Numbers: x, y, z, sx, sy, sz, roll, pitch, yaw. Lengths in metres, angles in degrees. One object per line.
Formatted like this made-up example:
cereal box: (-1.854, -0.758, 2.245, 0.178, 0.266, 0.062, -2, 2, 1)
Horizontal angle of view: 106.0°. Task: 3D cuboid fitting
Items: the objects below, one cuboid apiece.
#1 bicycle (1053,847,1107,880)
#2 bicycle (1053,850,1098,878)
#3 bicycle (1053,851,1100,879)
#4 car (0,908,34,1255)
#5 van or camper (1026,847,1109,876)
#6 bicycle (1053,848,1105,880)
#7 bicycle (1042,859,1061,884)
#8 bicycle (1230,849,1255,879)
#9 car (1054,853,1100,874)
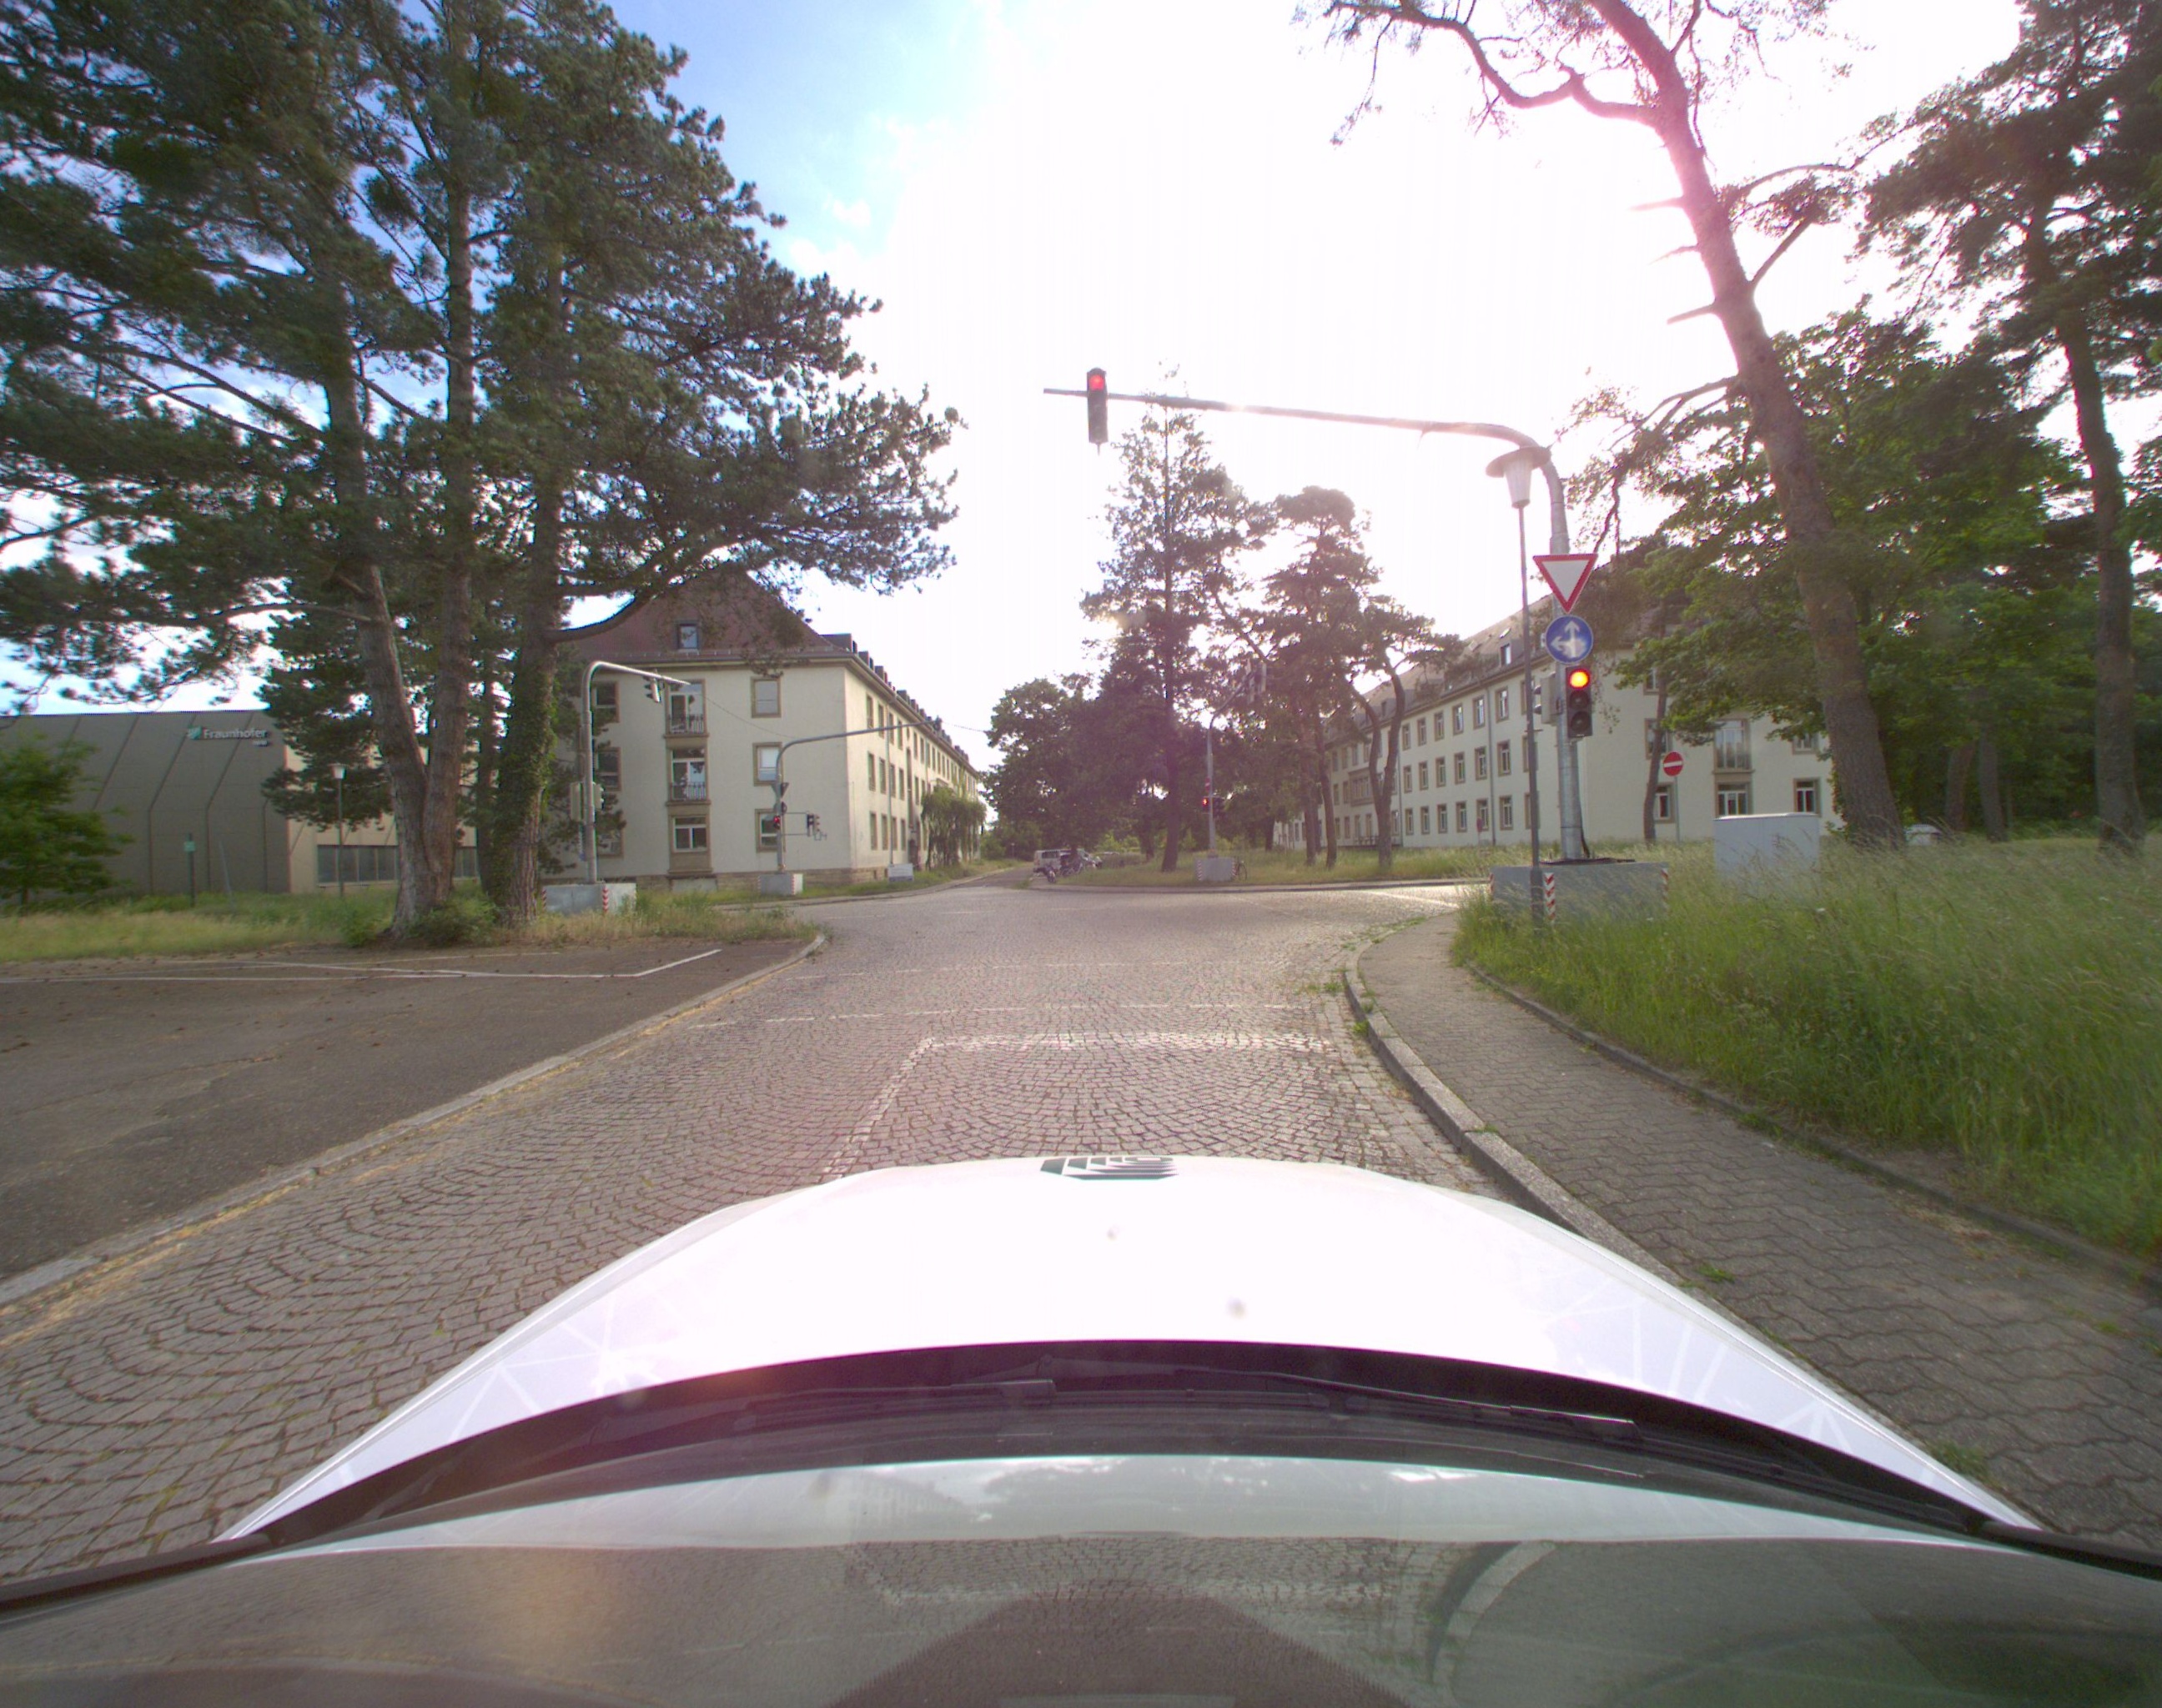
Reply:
bicycle: (-0.062, 0.518, 44.572, 2.773, 1.694, 1.117, -2, 0, -7)
bicycle: (-0.352, 0.637, 50.659, 2.767, 1.694, 1.120, 0, 0, -1)
bicycle: (-0.240, 0.648, 49.325, 2.764, 1.694, 1.121, 0, 0, 2)
car: (-6.673, 0.949, 2.382, 4.470, 1.442, 1.827, 0, 0, -5)
van or camper: (-1.052, 0.567, 62.535, 6.043, 1.948, 1.990, -2, 0, -15)
bicycle: (-0.112, 0.546, 45.764, 2.775, 1.694, 1.117, -2, 0, -9)
bicycle: (-1.452, 0.858, 40.244, 0.723, 1.107, 2.462, -6, 0, 0)
bicycle: (6.518, 0.396, 32.991, 0.720, 1.169, 2.741, 0, 0, 5)
car: (-0.273, 0.661, 58.956, 3.135, 1.354, 1.616, -2, 0, -8)
